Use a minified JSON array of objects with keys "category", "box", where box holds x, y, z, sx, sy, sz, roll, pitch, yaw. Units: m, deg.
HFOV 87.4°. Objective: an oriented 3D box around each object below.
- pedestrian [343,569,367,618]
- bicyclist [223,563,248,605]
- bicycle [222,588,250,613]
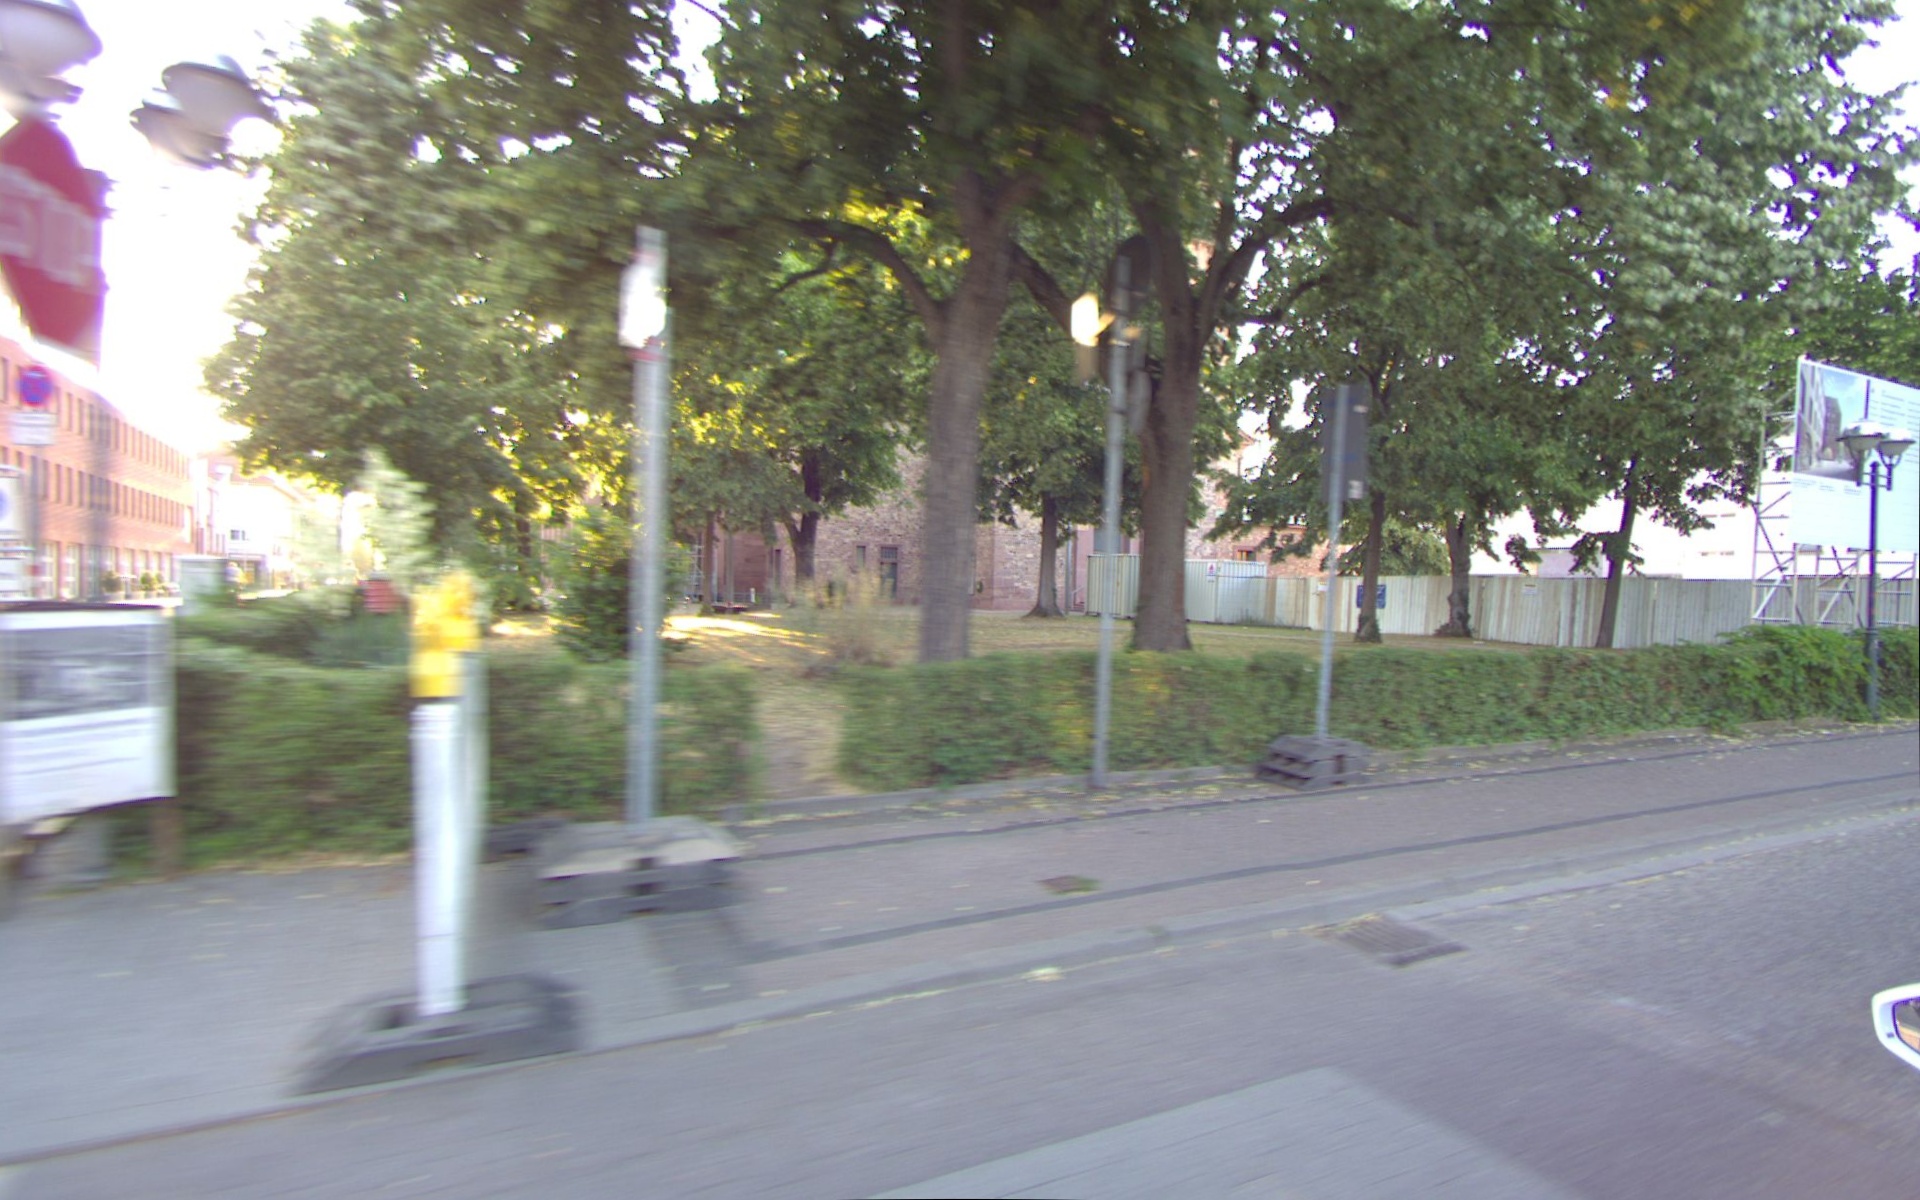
[{"category":"pedestrian","box":[-21.503,-0.230,35.718,0.645,1.715,0.747,1,0,-26]},{"category":"bicyclist","box":[-27.769,-0.619,38.505,0.621,1.572,0.672,1,0,-26]},{"category":"bicycle","box":[-27.821,0.020,38.610,0.526,0.945,1.823,1,0,-25]}]
